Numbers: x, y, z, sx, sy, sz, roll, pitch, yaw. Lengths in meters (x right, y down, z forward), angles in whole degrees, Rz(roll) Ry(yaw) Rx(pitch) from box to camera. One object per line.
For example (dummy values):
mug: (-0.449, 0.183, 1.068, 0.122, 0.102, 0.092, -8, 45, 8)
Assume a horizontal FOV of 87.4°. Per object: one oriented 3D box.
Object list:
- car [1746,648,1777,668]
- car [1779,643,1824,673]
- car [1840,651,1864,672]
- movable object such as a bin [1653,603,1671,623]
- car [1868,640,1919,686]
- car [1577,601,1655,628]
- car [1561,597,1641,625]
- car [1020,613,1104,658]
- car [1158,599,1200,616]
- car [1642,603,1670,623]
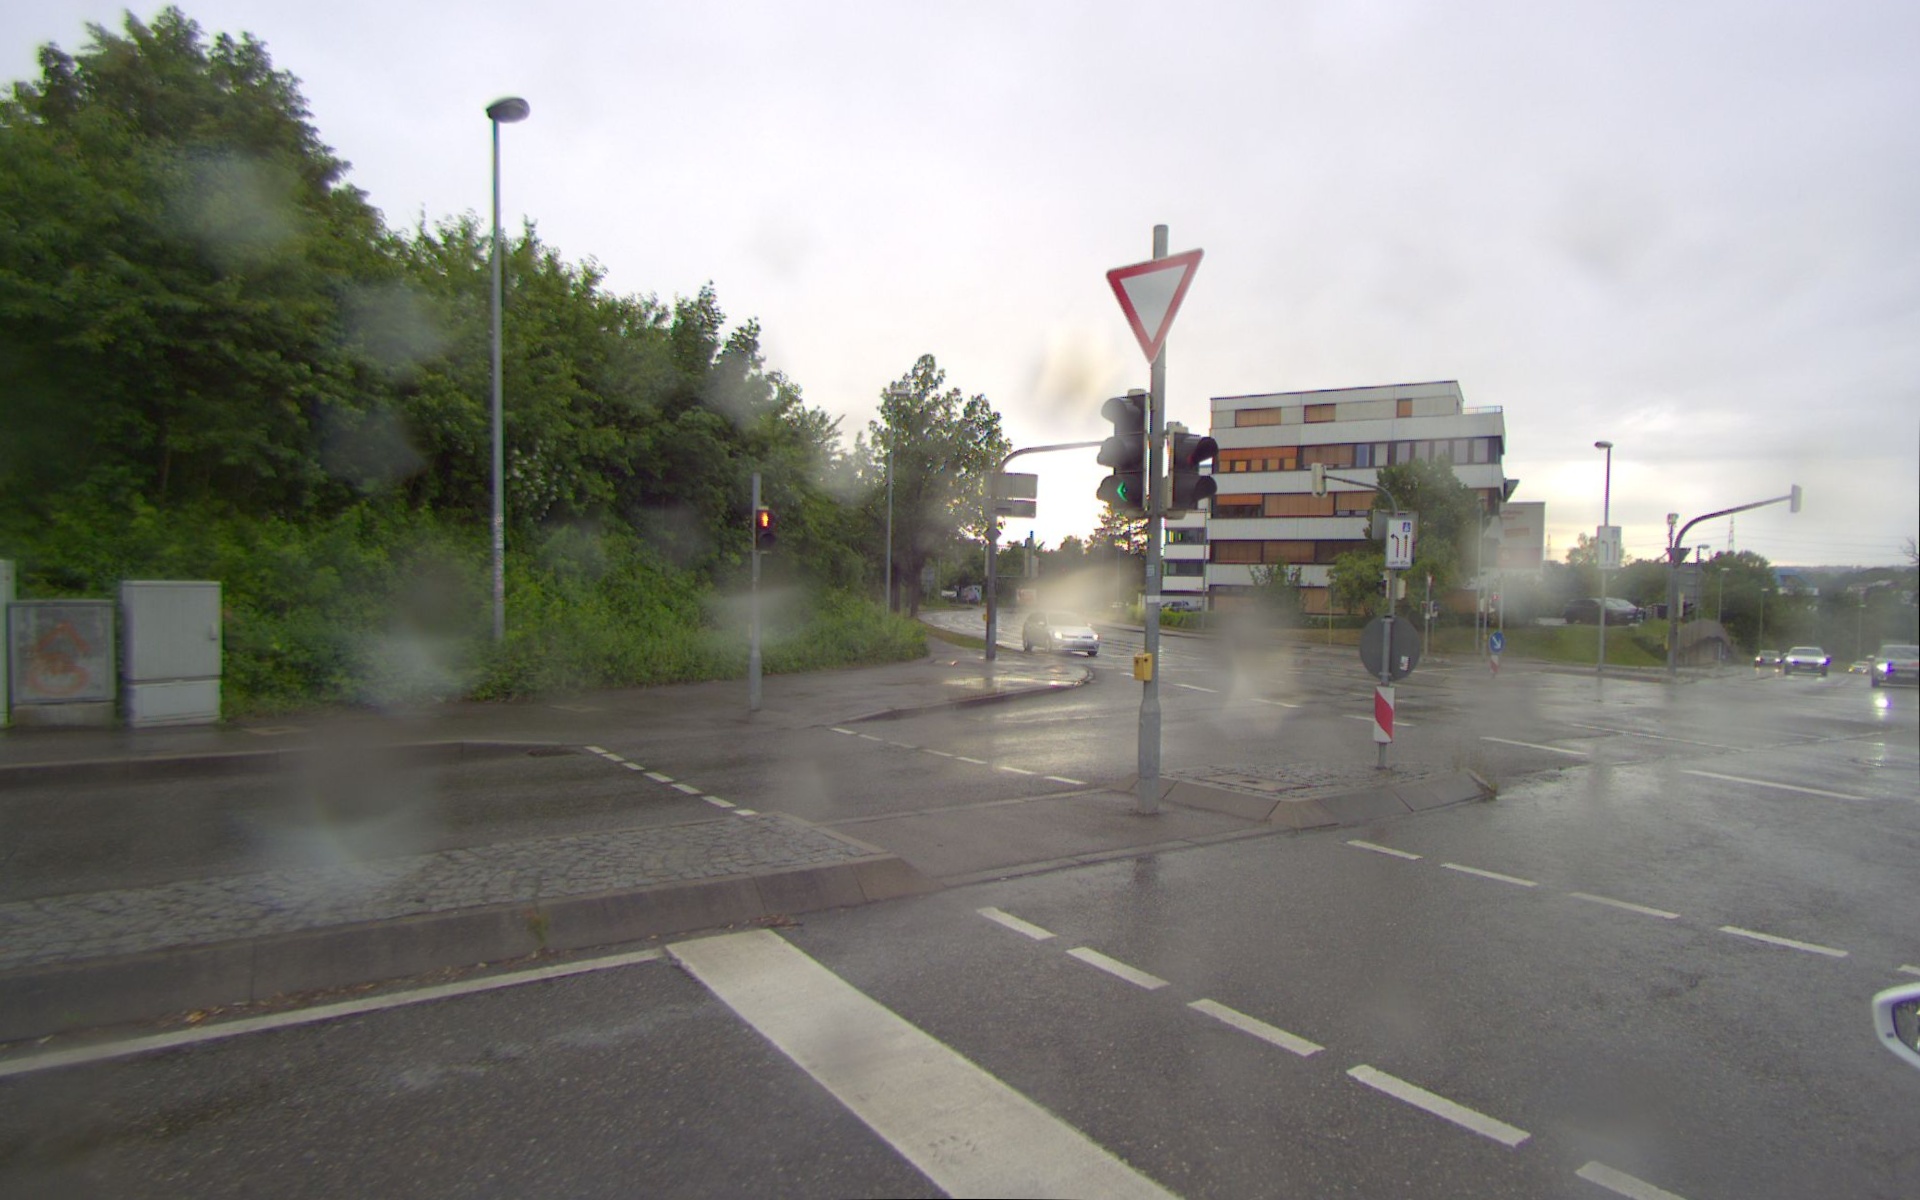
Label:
car: (67.454, 4.848, 84.557, 1.874, 1.475, 3.985, 2, 0, 37)
car: (46.912, 3.231, 55.978, 1.701, 1.514, 3.978, 2, -1, 43)
car: (100.266, 6.875, 112.919, 1.971, 2.040, 3.978, 2, 1, 42)
movable object such as a bin: (54.443, 1.018, 77.912, 1.069, 1.455, 1.443, 4, 0, 34)
car: (33.457, 2.228, 35.739, 1.643, 1.514, 3.978, 2, -1, 43)
car: (43.008, 0.927, 65.955, 1.872, 1.607, 3.986, 4, -1, -16)
car: (41.064, 0.692, 64.426, 1.874, 1.607, 3.981, 4, -1, -20)
car: (3.498, 1.196, 35.384, 1.731, 1.381, 4.523, 2, 0, -10)
car: (20.750, 0.693, 95.202, 3.686, 1.418, 2.000, 2, 0, 19)
car: (60.266, 1.122, 87.033, 1.802, 1.461, 3.989, 4, -1, 34)
